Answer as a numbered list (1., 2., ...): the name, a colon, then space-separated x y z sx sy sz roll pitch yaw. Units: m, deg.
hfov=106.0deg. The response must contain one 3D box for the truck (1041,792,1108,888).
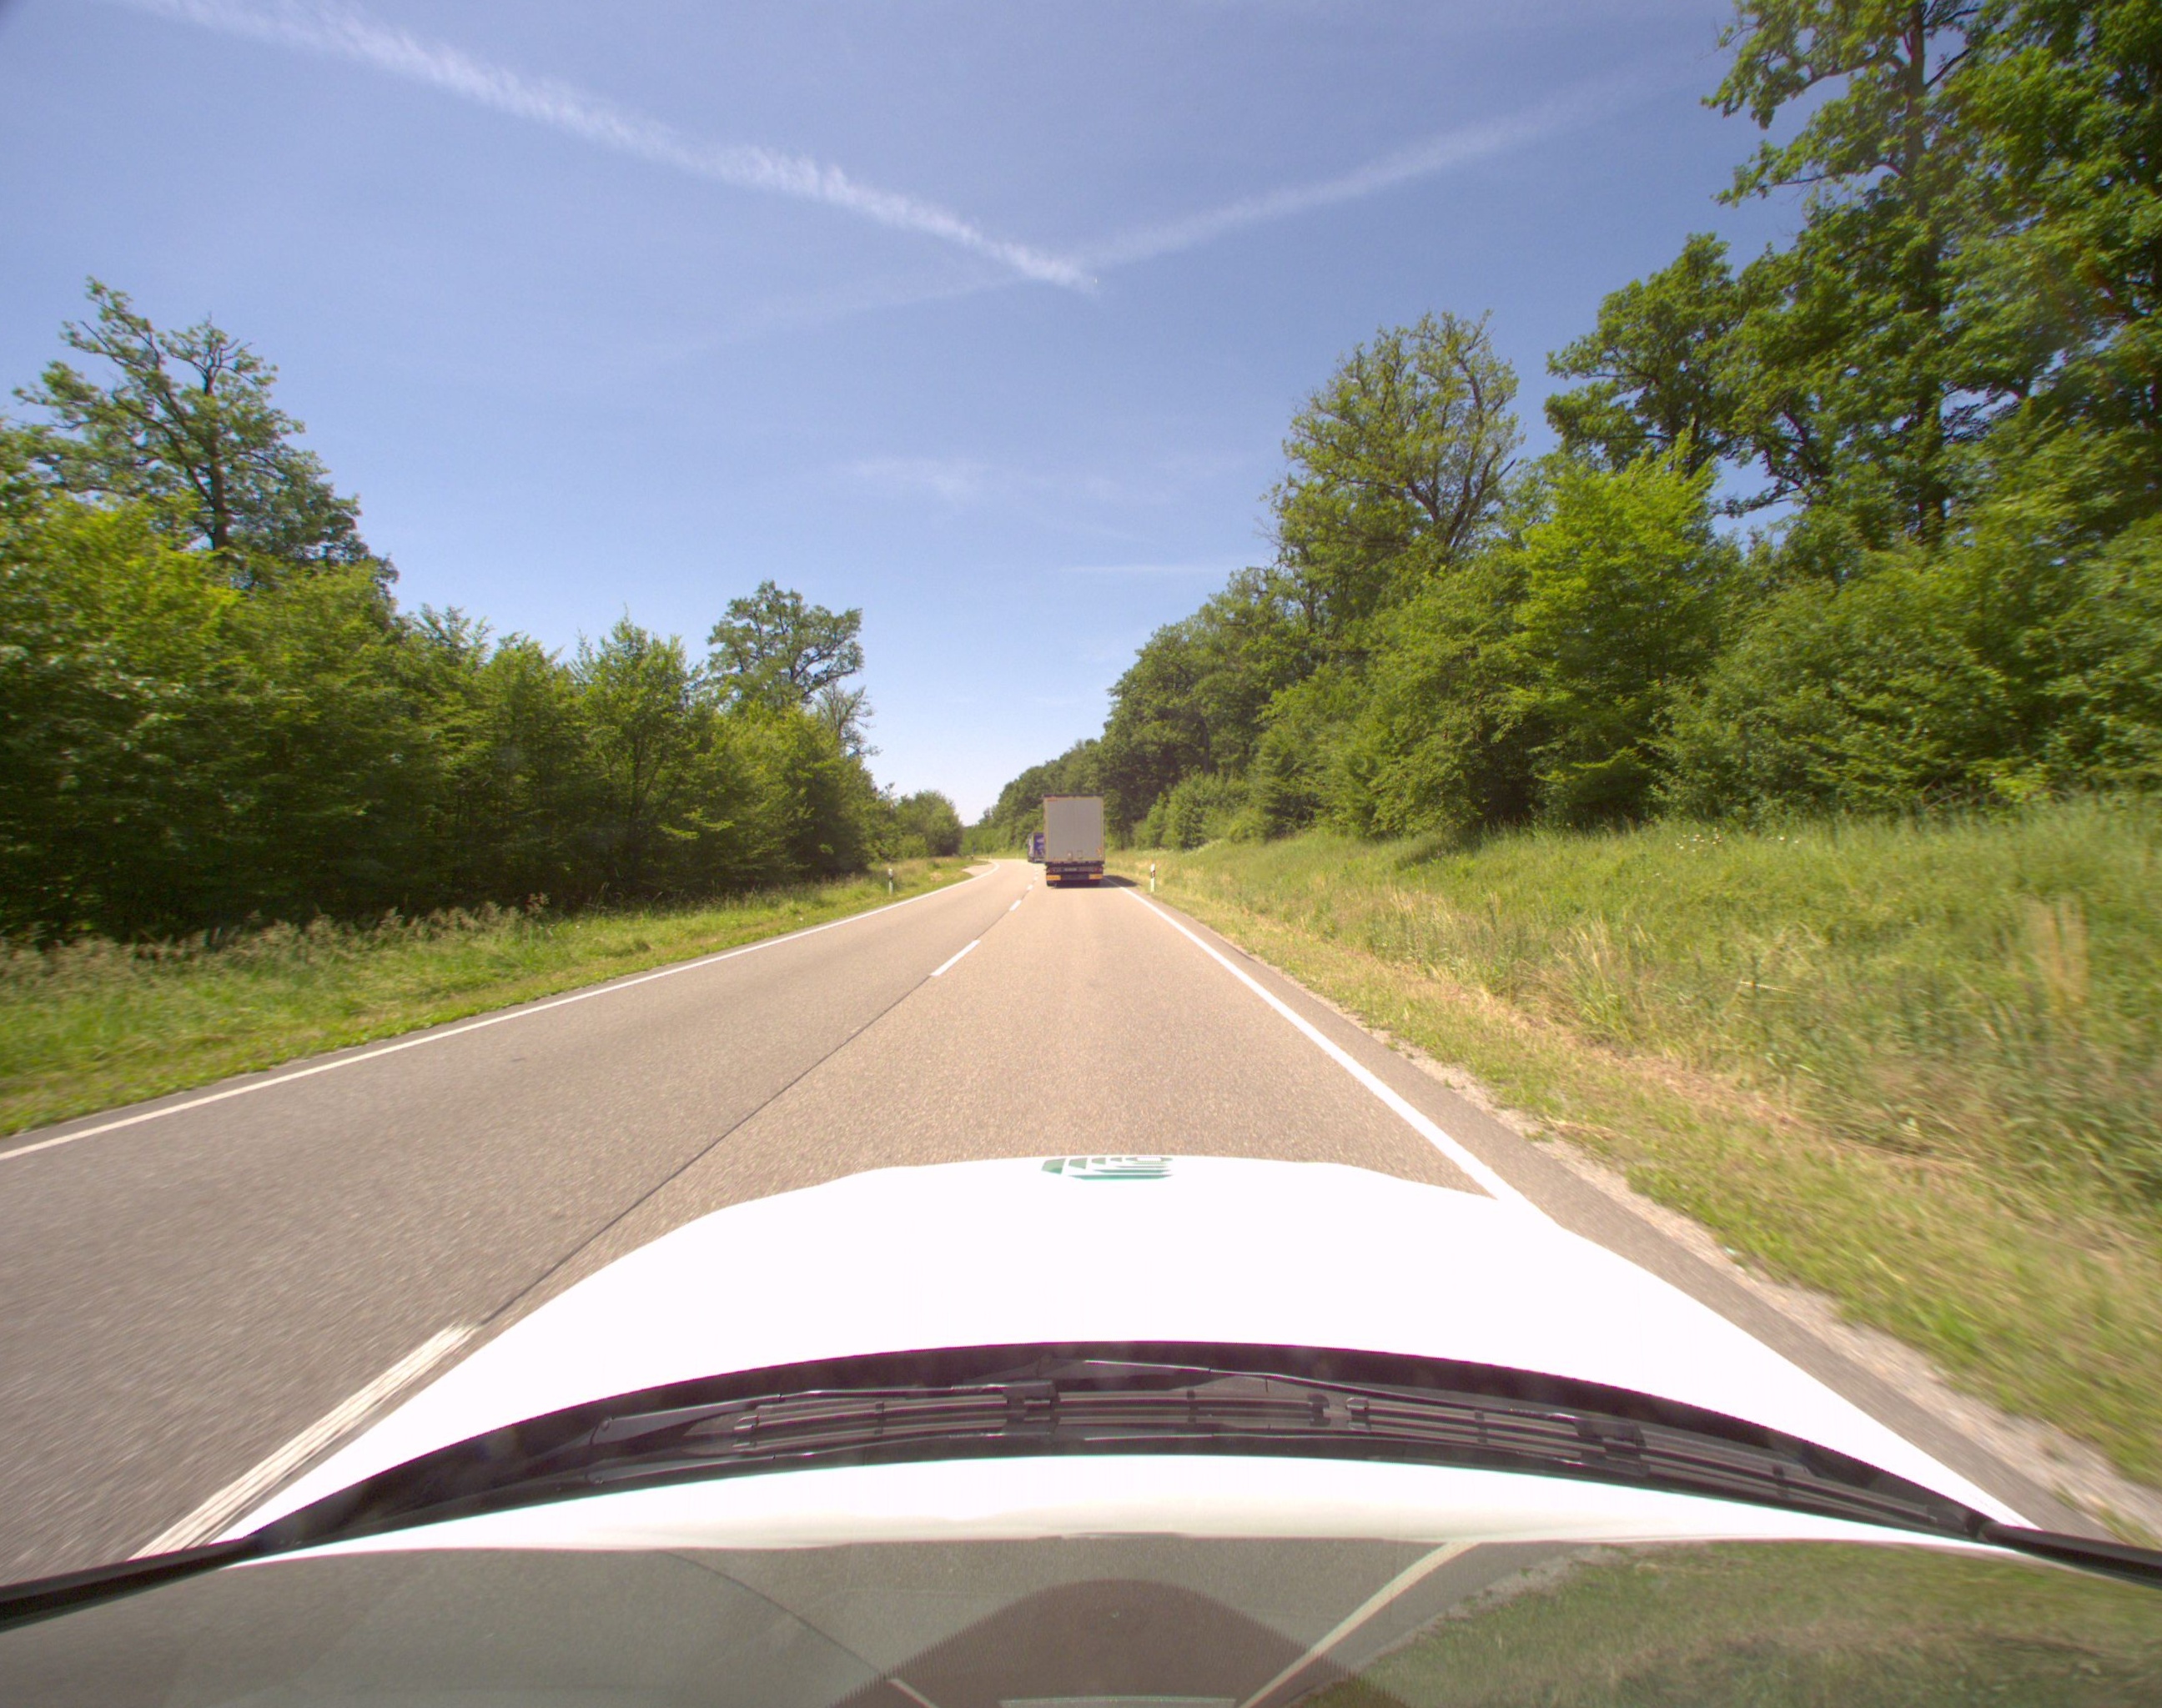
1. truck: -0.415 -0.583 40.068 2.753 3.947 12.190 -1 0 -1

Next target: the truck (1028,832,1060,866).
1. truck: -5.237 -0.717 112.103 3.787 4.373 14.892 0 0 -5
